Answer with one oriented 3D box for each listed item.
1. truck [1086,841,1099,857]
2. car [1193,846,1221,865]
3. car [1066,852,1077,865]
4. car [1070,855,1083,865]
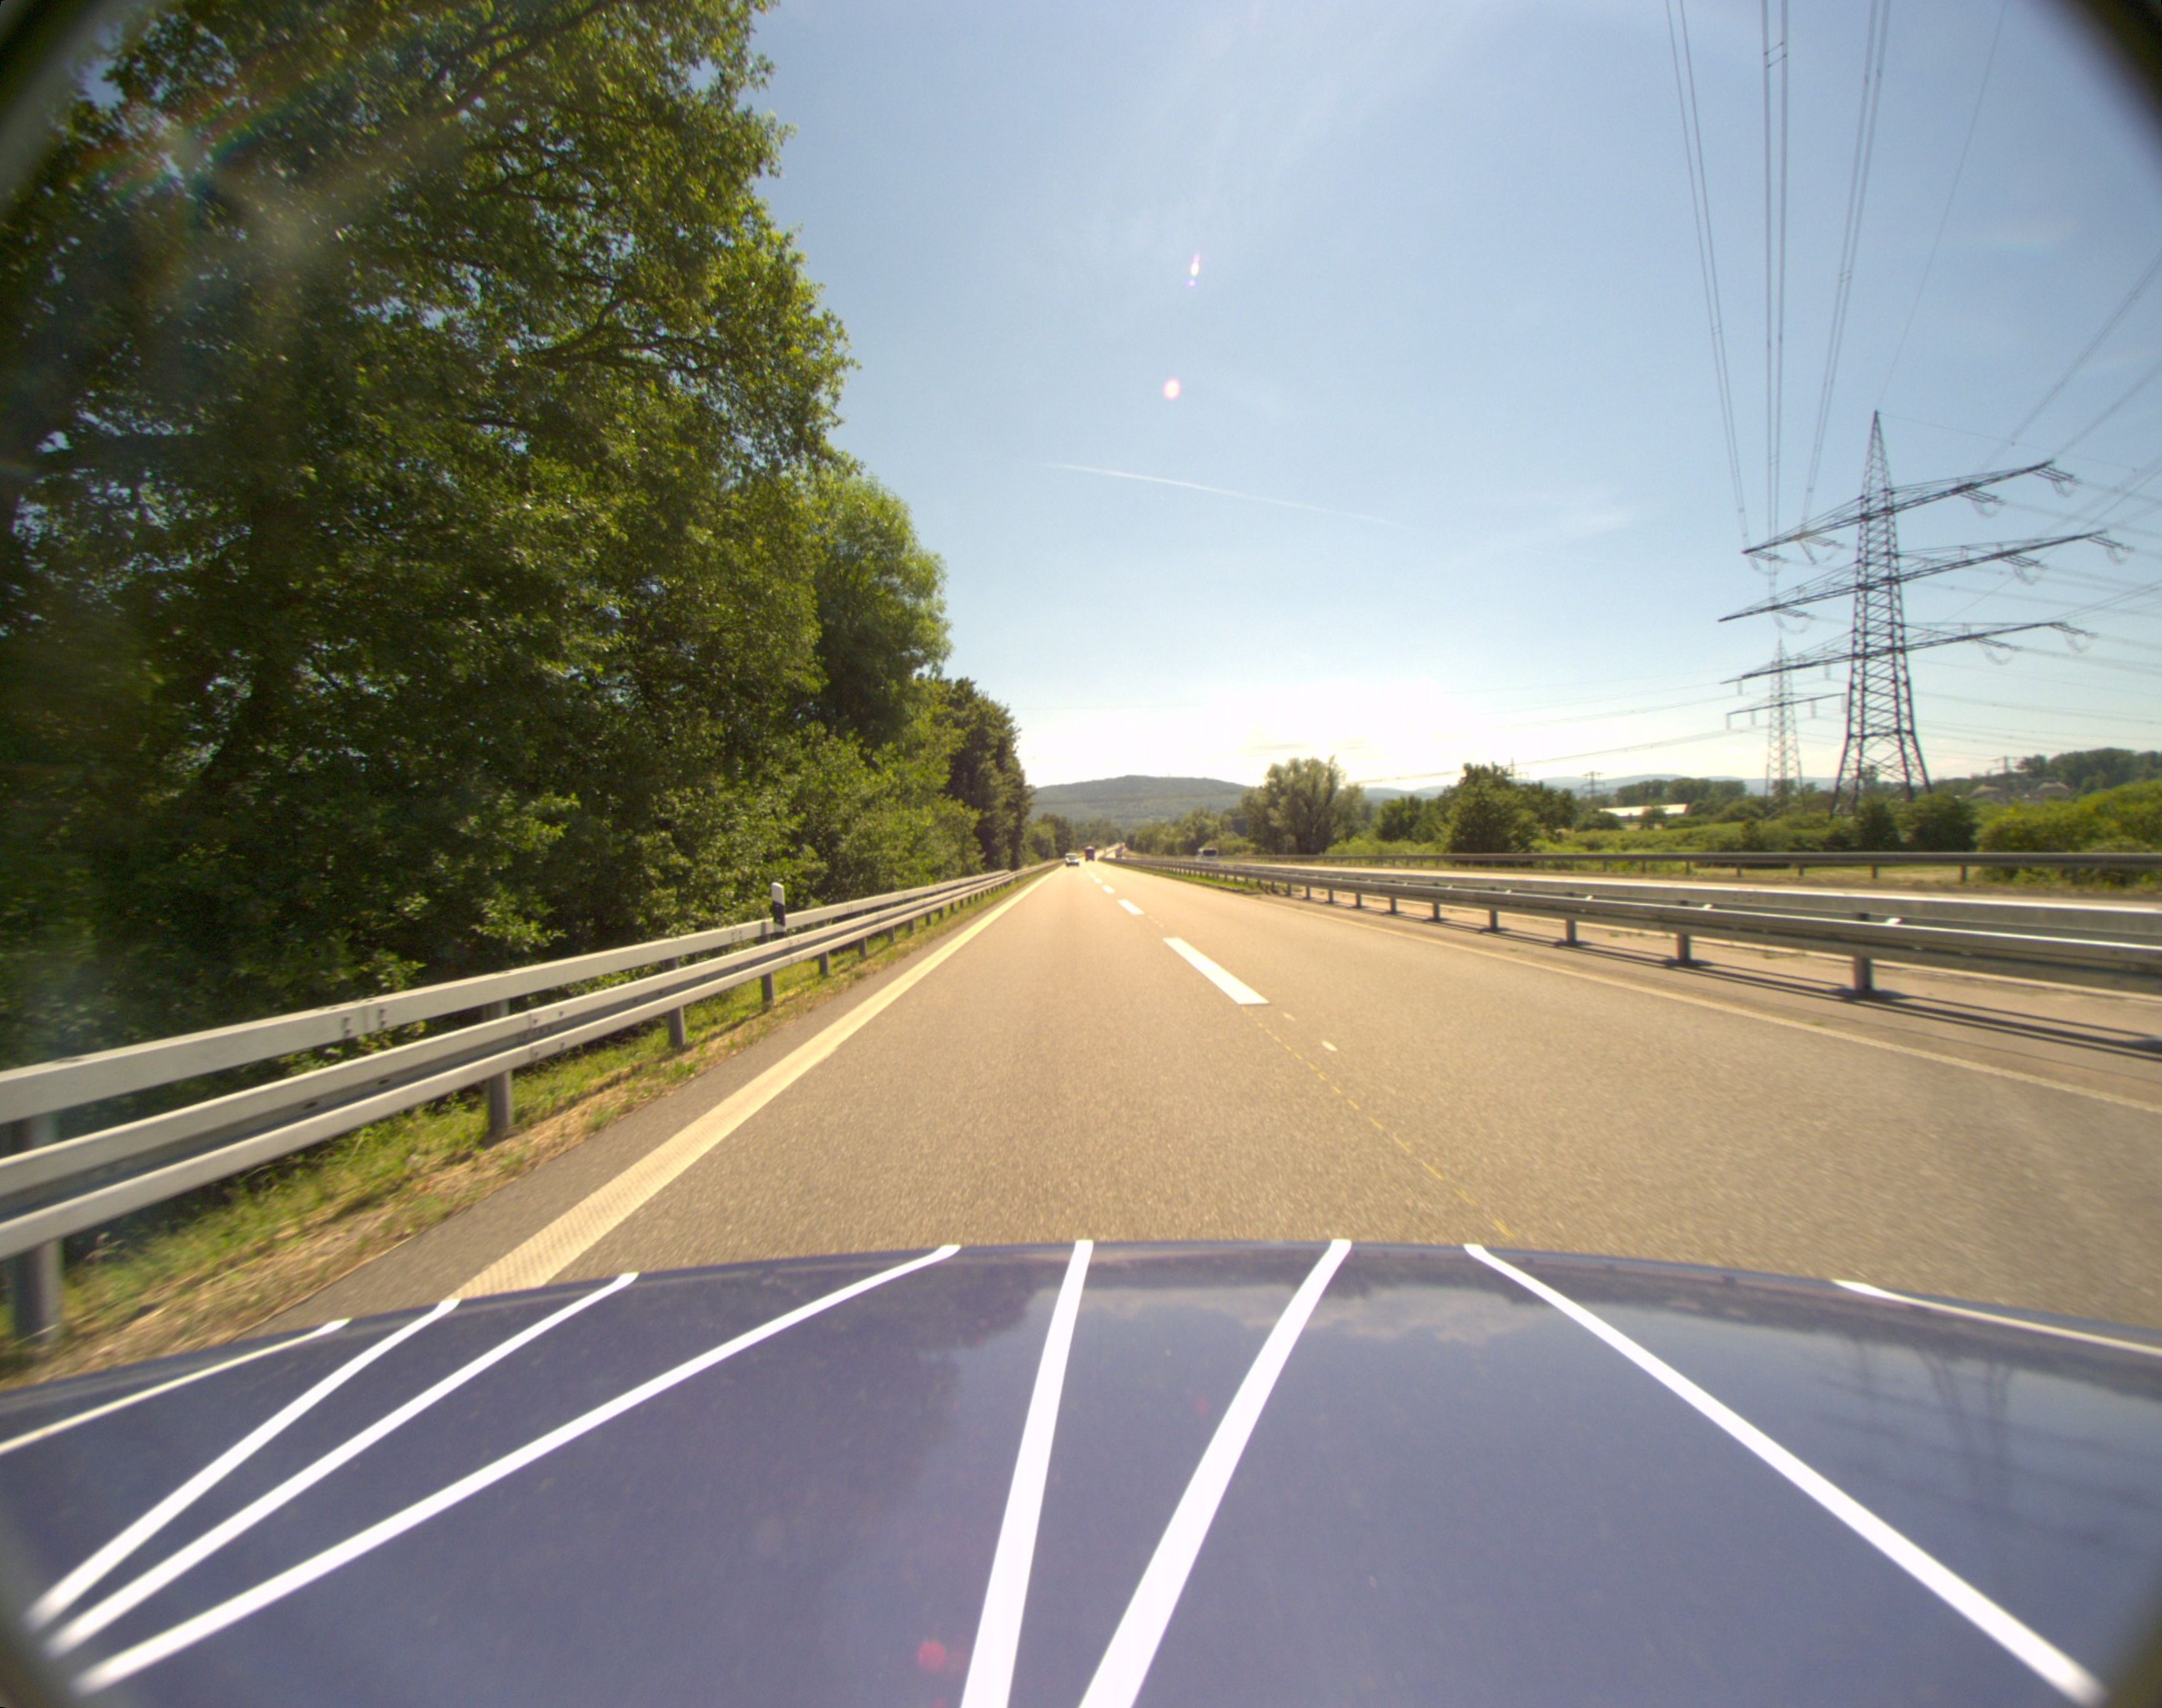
[{"bbox_3d":[3.089,-1.310,203.369,2.826,4.143,9.950,-2,1,4],"label":"truck"},{"bbox_3d":[13.814,0.103,83.608,1.896,1.981,5.531,-2,0,-1],"label":"car"},{"bbox_3d":[-1.588,0.737,129.696,1.619,2.086,3.486,-2,1,4],"label":"car"},{"bbox_3d":[-0.697,0.920,112.935,1.577,1.387,3.486,-2,1,4],"label":"car"}]
